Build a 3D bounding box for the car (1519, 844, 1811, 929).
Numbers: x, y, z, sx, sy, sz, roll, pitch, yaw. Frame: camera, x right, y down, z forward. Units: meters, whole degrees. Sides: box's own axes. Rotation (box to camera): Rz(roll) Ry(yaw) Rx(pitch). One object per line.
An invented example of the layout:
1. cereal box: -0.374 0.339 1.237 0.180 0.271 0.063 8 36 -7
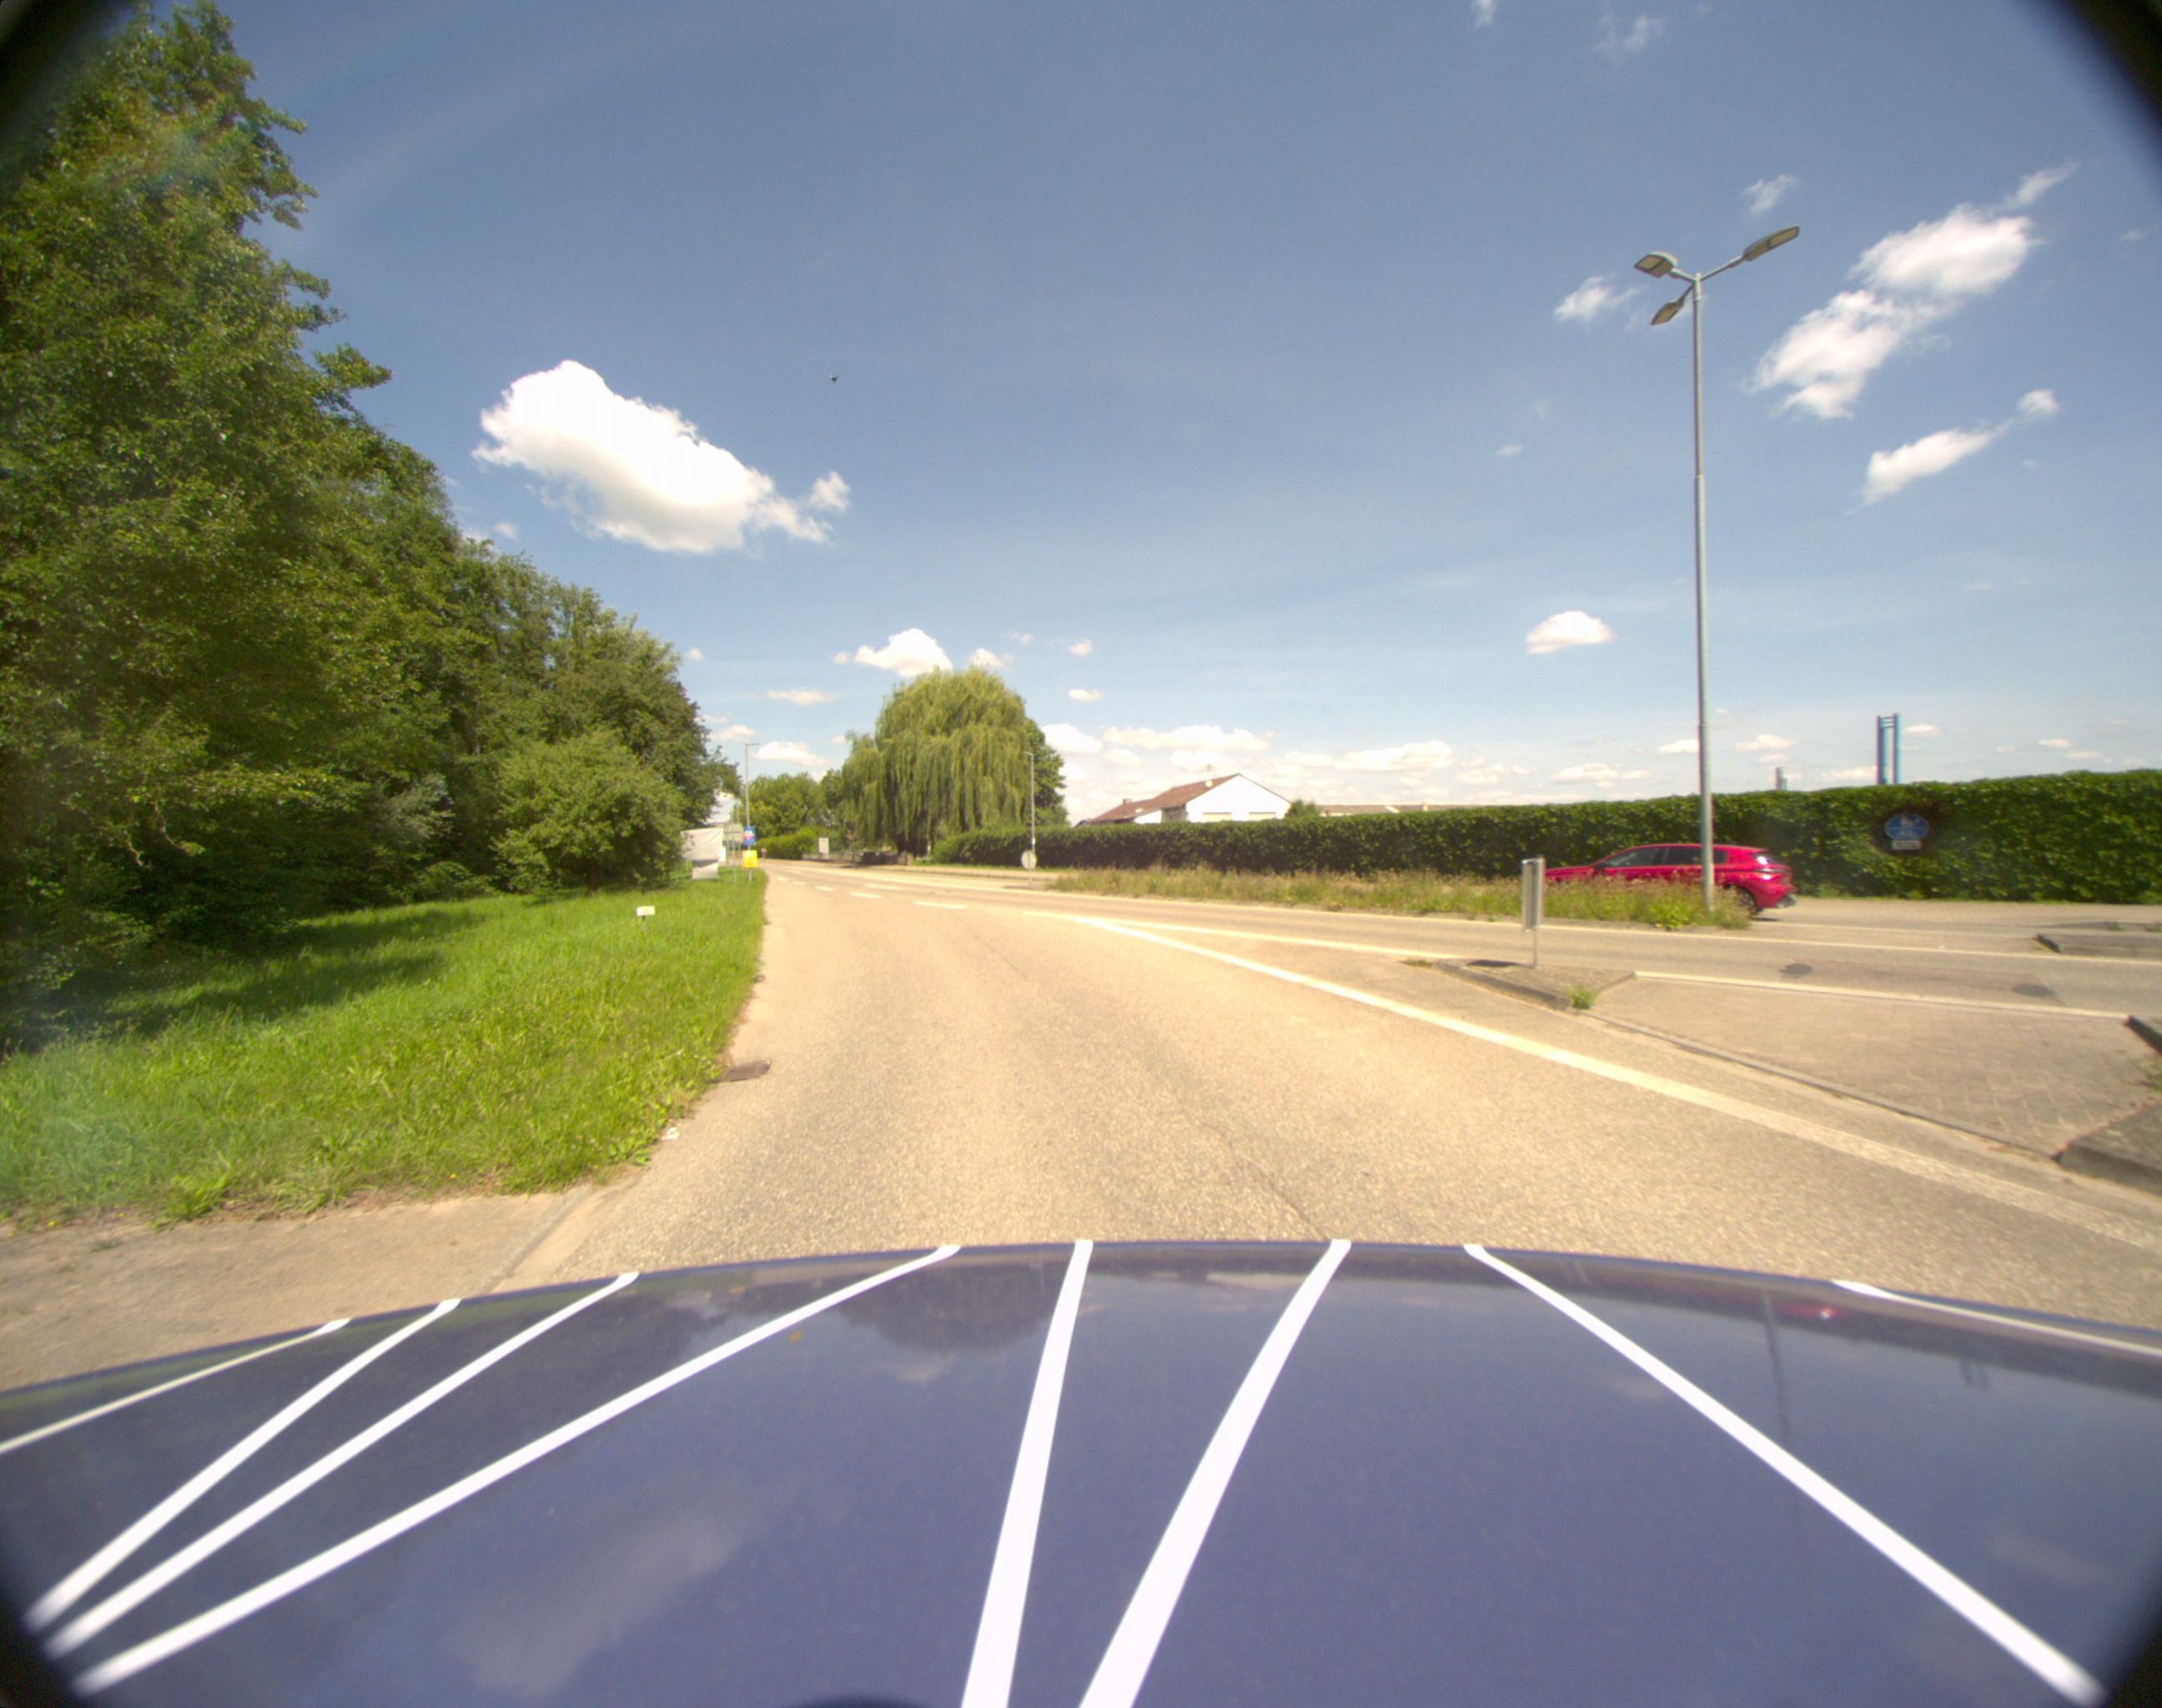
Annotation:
1. car: 11.478 0.559 15.174 1.890 1.455 4.374 -1 0 -43
